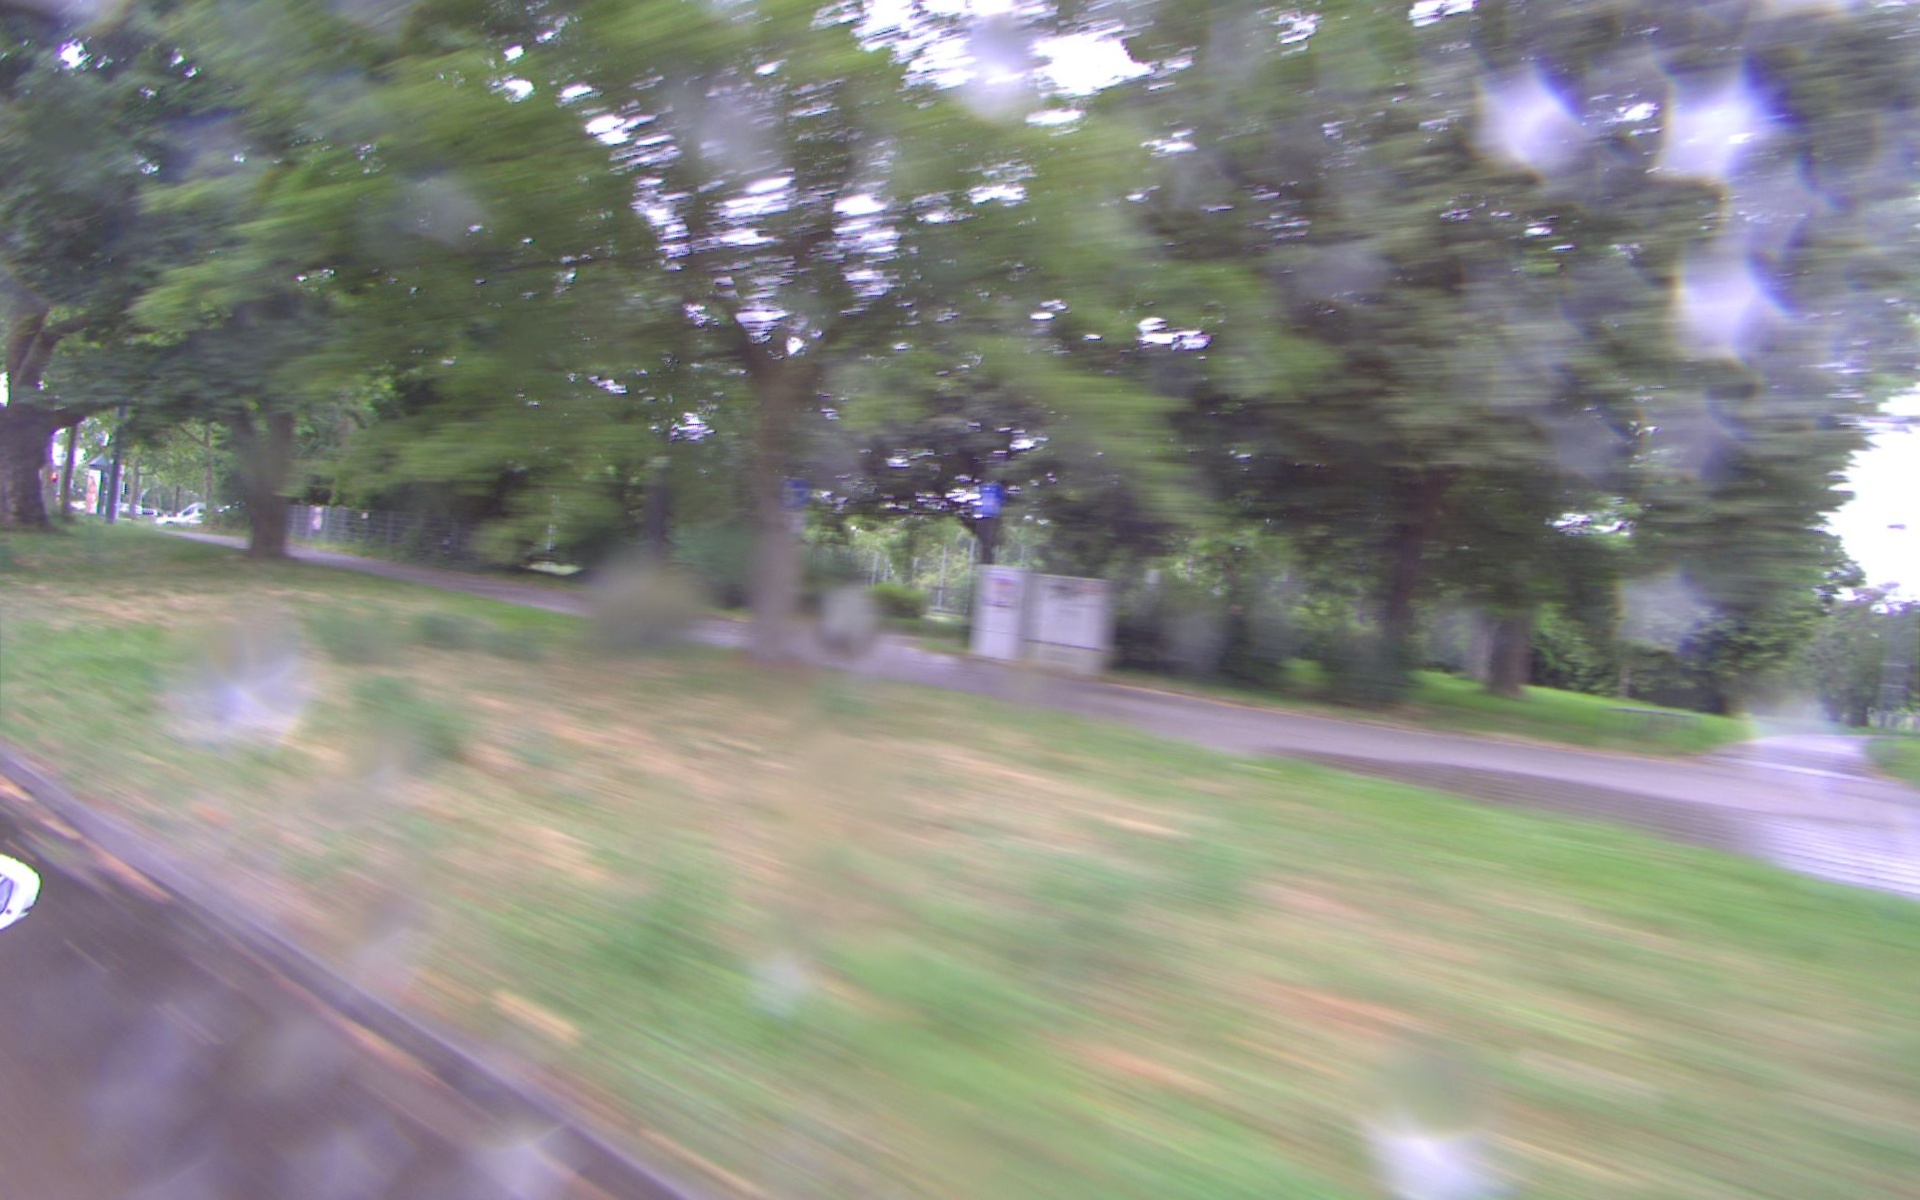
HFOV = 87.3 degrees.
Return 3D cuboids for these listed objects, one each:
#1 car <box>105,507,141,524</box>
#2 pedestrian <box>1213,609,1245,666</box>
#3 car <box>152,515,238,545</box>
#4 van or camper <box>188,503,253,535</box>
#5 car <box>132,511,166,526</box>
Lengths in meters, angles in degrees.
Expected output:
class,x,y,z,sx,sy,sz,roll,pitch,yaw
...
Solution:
class,x,y,z,sx,sy,sz,roll,pitch,yaw
car,-129.923,-13.131,156.193,4.110,2.000,1.657,6,0,-36
pedestrian,8.699,1.205,32.562,0.838,1.716,1.035,6,1,14
car,-53.118,-4.845,69.912,1.623,1.407,4.500,6,-1,45
van or camper,-82.838,-9.061,112.764,5.172,2.730,2.230,8,0,-24
car,-133.456,-13.343,165.613,4.110,1.883,1.657,6,0,-36
